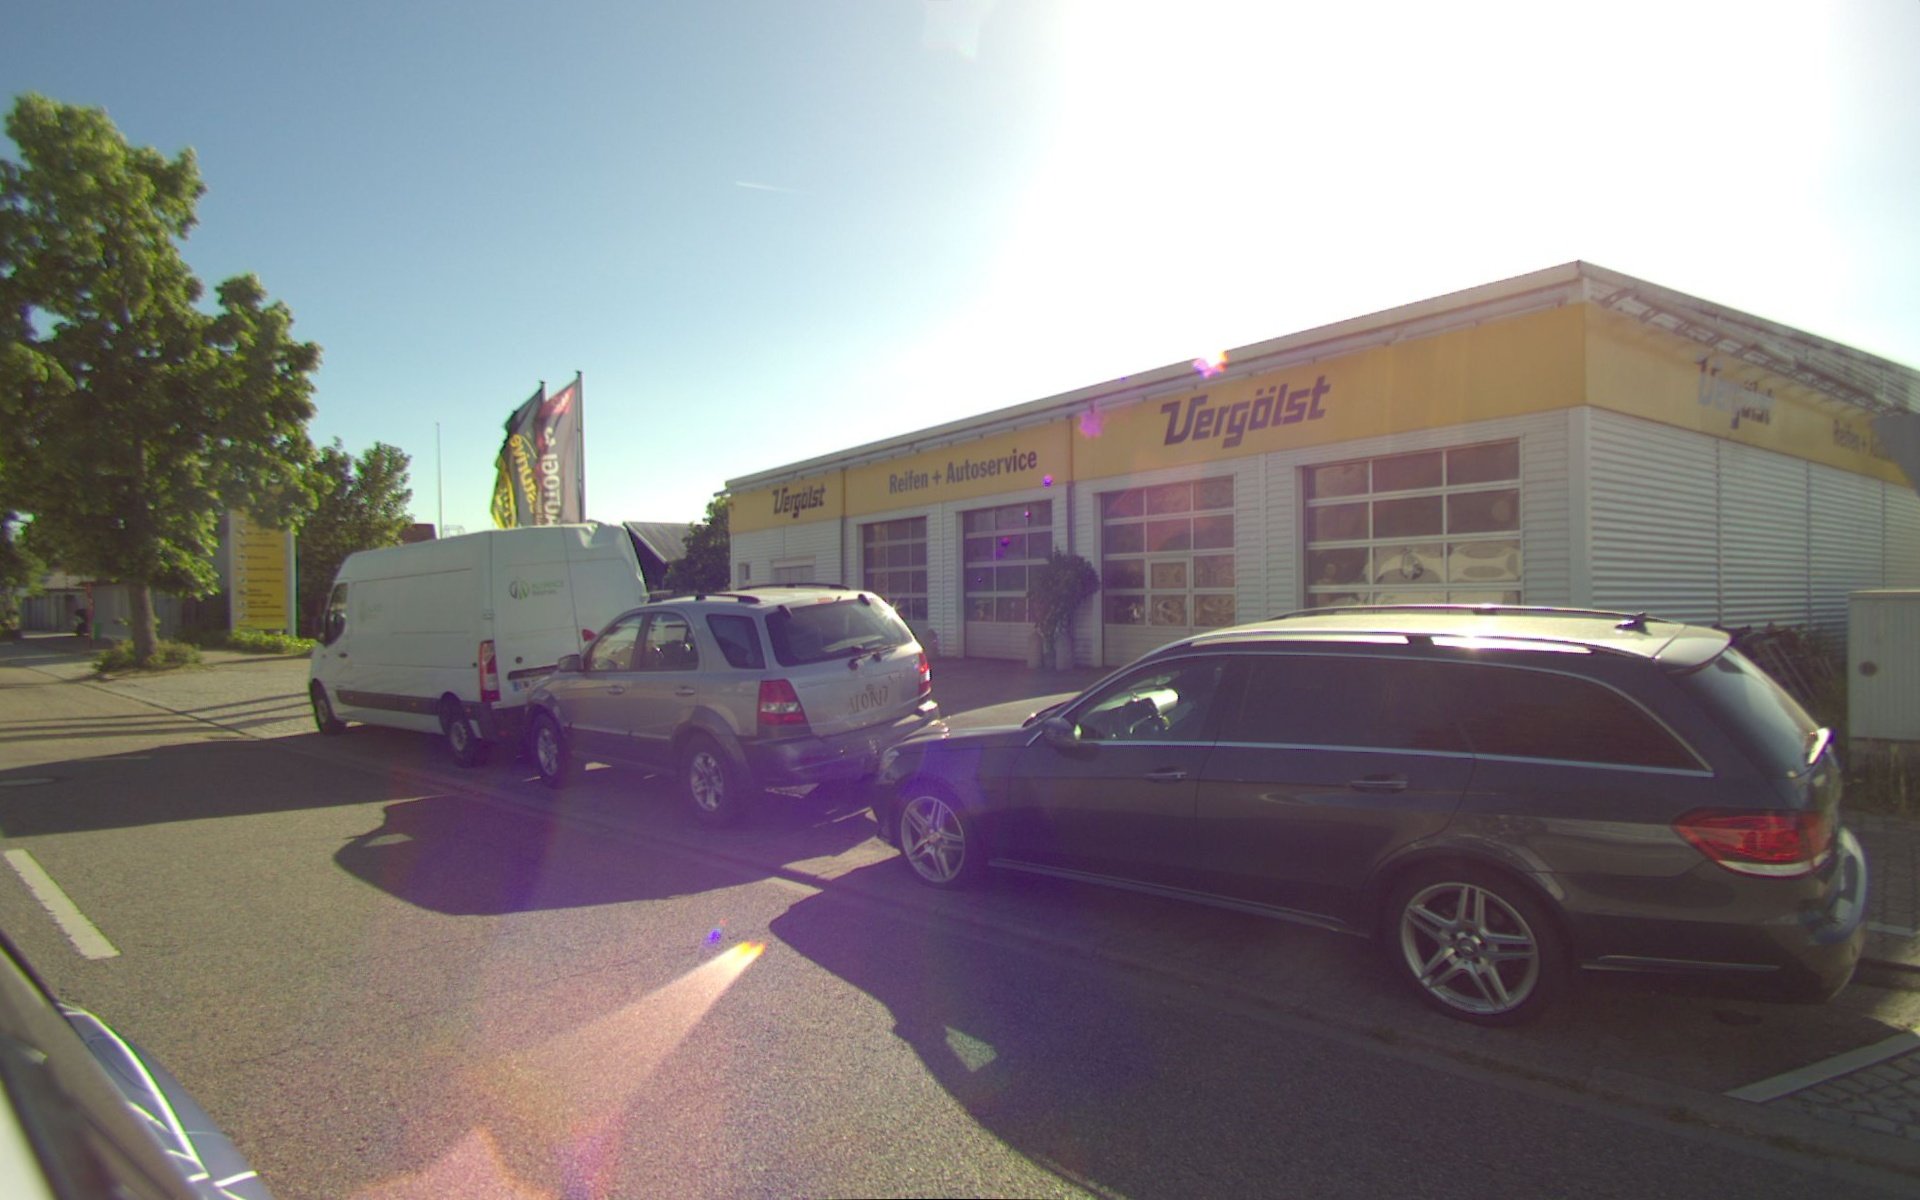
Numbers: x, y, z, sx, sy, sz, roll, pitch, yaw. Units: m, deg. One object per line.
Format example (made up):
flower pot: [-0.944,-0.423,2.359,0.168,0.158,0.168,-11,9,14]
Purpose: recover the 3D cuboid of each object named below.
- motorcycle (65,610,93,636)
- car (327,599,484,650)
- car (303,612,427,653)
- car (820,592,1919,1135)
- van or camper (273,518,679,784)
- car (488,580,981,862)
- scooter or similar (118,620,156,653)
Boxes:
motorcycle: [-44.369,1.142,50.964,2.537,1.242,0.692,-1,2,41]
car: [-18.069,0.767,33.038,4.287,1.519,2.005,0,0,-35]
car: [-23.812,1.258,40.581,4.011,1.527,1.776,0,-1,-44]
car: [1.628,0.821,5.270,5.000,1.521,1.781,-1,3,41]
van or camper: [-6.309,0.490,12.659,6.400,2.568,2.050,-1,3,41]
car: [-2.195,0.809,8.923,4.576,1.750,1.972,-1,3,44]
scooter or similar: [-31.924,1.415,39.246,1.568,1.280,0.479,-1,0,24]
